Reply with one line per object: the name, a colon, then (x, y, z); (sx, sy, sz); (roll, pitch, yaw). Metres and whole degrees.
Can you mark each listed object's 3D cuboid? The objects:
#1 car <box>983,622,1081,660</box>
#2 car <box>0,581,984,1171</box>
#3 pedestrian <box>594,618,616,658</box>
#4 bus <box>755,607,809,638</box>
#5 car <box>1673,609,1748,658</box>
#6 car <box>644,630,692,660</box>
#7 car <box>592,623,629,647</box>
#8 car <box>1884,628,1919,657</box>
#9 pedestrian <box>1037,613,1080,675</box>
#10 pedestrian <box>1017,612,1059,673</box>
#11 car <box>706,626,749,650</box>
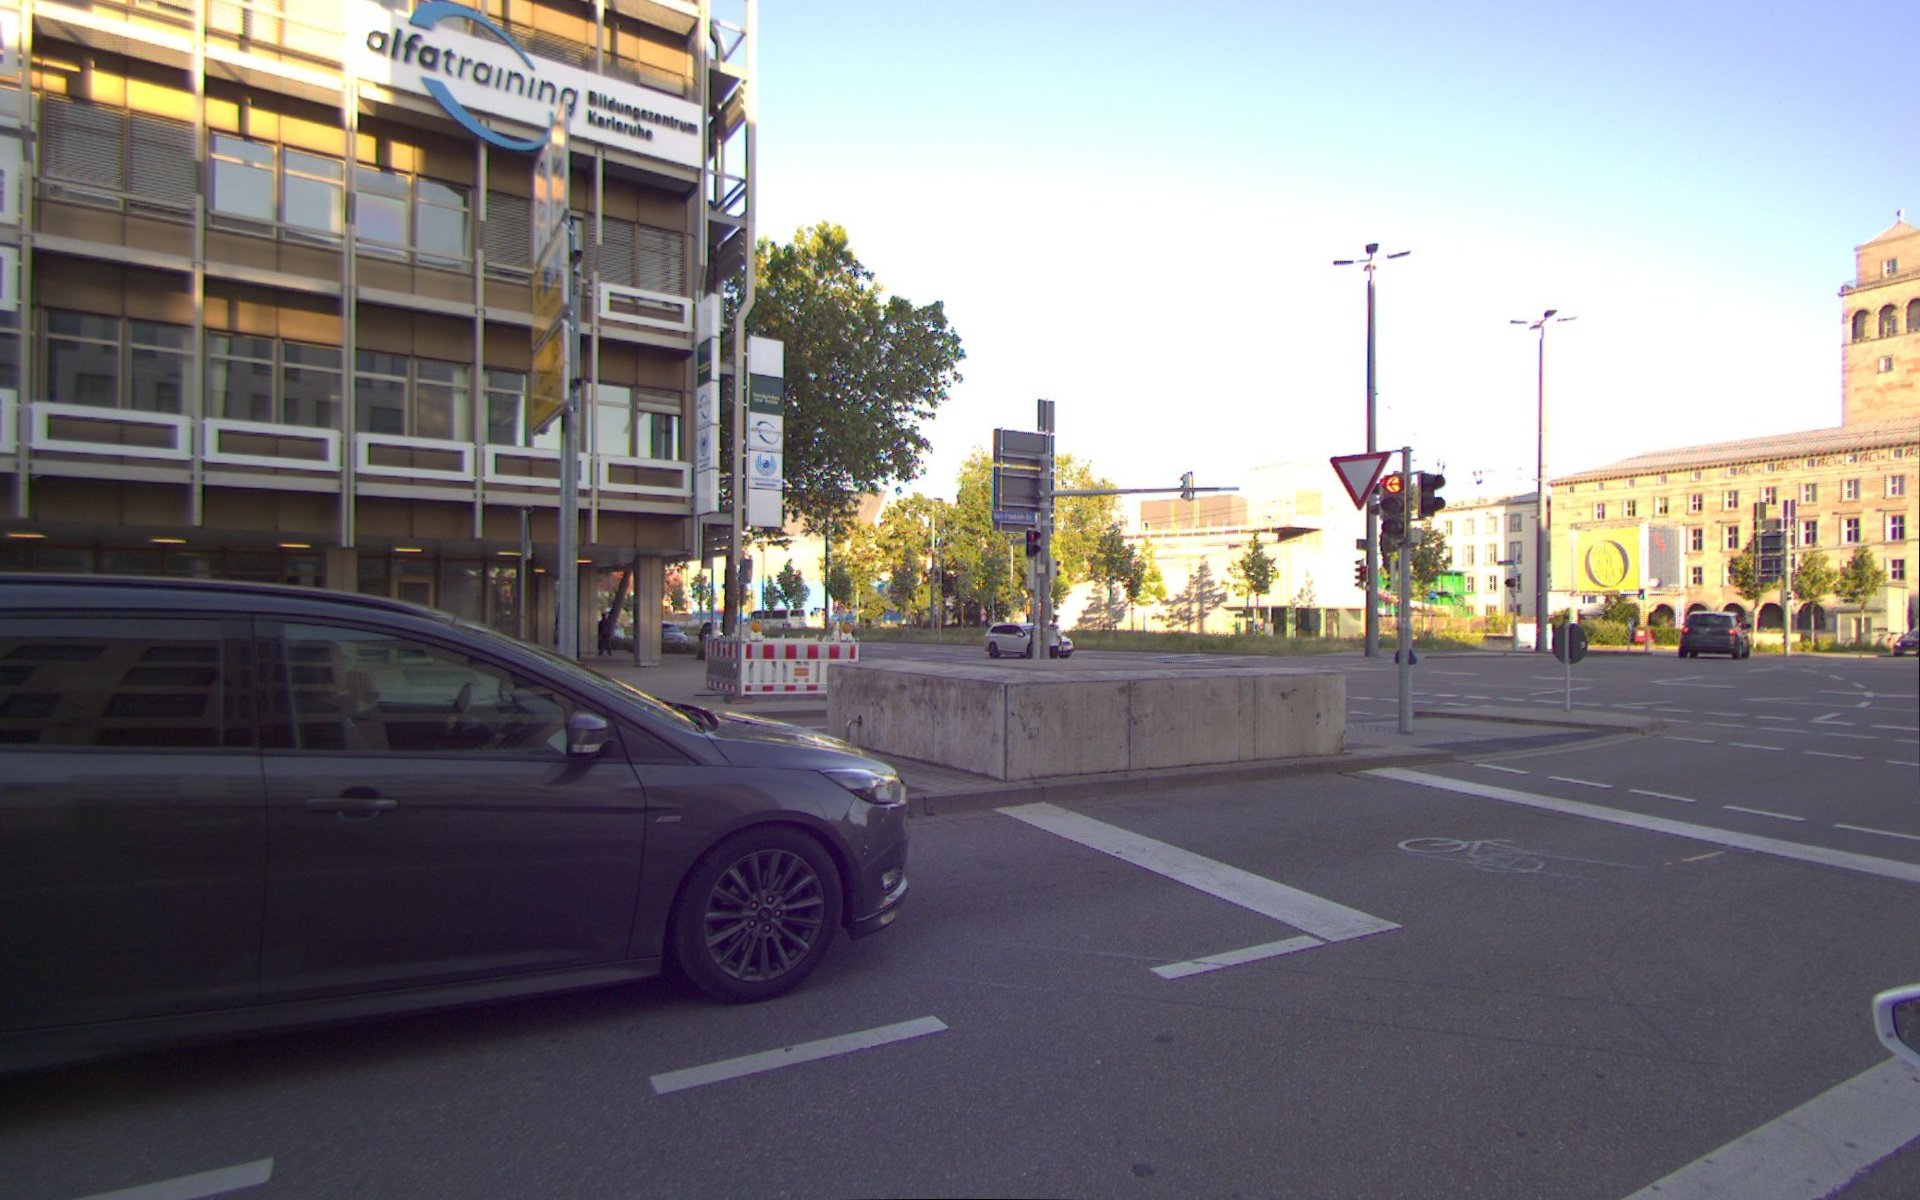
car: (2.919, 1.673, 41.828); (1.830, 1.476, 4.554); (0, -1, -31)
car: (-2.201, 0.693, 3.666); (4.330, 1.482, 1.748); (1, 1, -31)
pedestrian: (-14.424, 1.539, 40.824); (0.660, 1.606, 0.715); (2, 0, -34)
bus: (-23.151, 2.884, 130.236); (2.959, 3.818, 10.341); (1, -1, -34)
car: (26.651, 1.159, 35.626); (1.720, 1.626, 4.111); (-1, -1, 42)
car: (-17.158, 2.617, 58.894); (1.722, 1.605, 4.554); (0, -1, -30)
car: (-24.370, 2.400, 69.906); (1.722, 1.605, 3.764); (0, -1, -31)
car: (51.264, 2.254, 53.599); (4.111, 1.485, 1.813); (0, -1, -32)
pedestrian: (2.820, 1.256, 28.780); (0.949, 1.744, 0.816); (1, -1, -34)
pedestrian: (2.287, 1.243, 29.502); (0.949, 1.744, 0.816); (1, -1, -34)
car: (-15.113, 2.415, 65.156); (1.828, 1.476, 3.925); (0, -1, -27)
